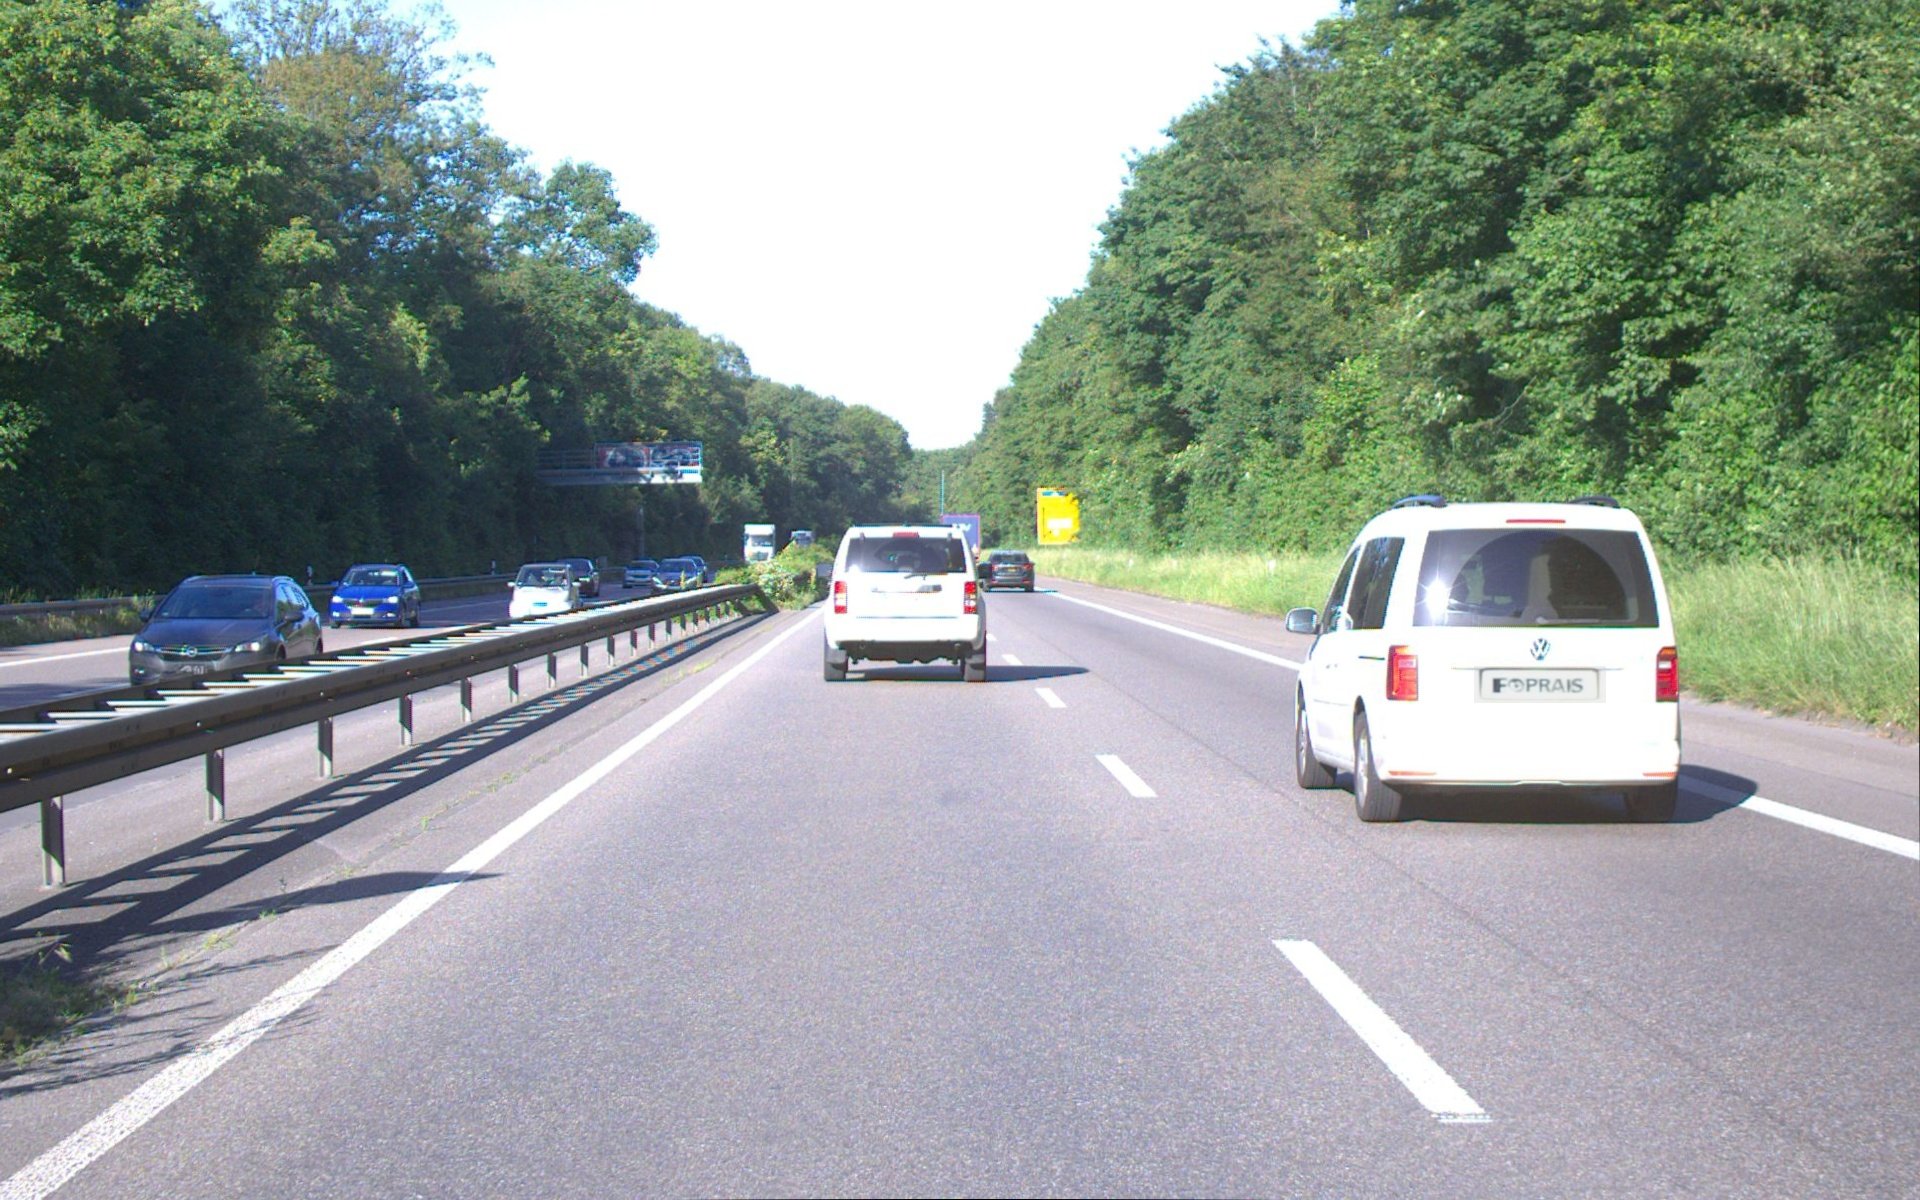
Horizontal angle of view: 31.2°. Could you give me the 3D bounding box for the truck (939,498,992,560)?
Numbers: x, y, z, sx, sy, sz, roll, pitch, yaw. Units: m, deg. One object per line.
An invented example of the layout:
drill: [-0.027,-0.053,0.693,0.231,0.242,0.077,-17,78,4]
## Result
truck: [0.340,-4.876,237.984,3.496,4.158,8.862,-1,1,-1]

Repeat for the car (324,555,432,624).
car: [-13.526,-0.272,80.089,1.836,1.535,4.431,0,1,-1]

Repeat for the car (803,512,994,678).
car: [-0.767,-0.091,39.916,2.085,1.822,4.001,0,1,-3]

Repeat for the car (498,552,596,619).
car: [-9.795,-0.365,81.773,1.877,1.535,4.465,-1,1,-1]

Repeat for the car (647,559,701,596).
car: [-10.941,-0.882,131.850,1.835,1.352,4.475,0,1,-2]

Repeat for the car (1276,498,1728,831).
car: [3.091,0.302,20.538,1.863,1.764,4.470,0,1,-2]

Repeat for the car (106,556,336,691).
car: [-9.054,0.248,42.464,1.960,1.535,4.465,0,1,-1]

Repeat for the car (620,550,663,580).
car: [-14.855,-1.641,160.521,1.718,1.352,4.229,-1,1,-2]

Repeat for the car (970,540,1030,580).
car: [1.411,-1.447,123.149,1.993,1.393,4.000,1,1,-1]
